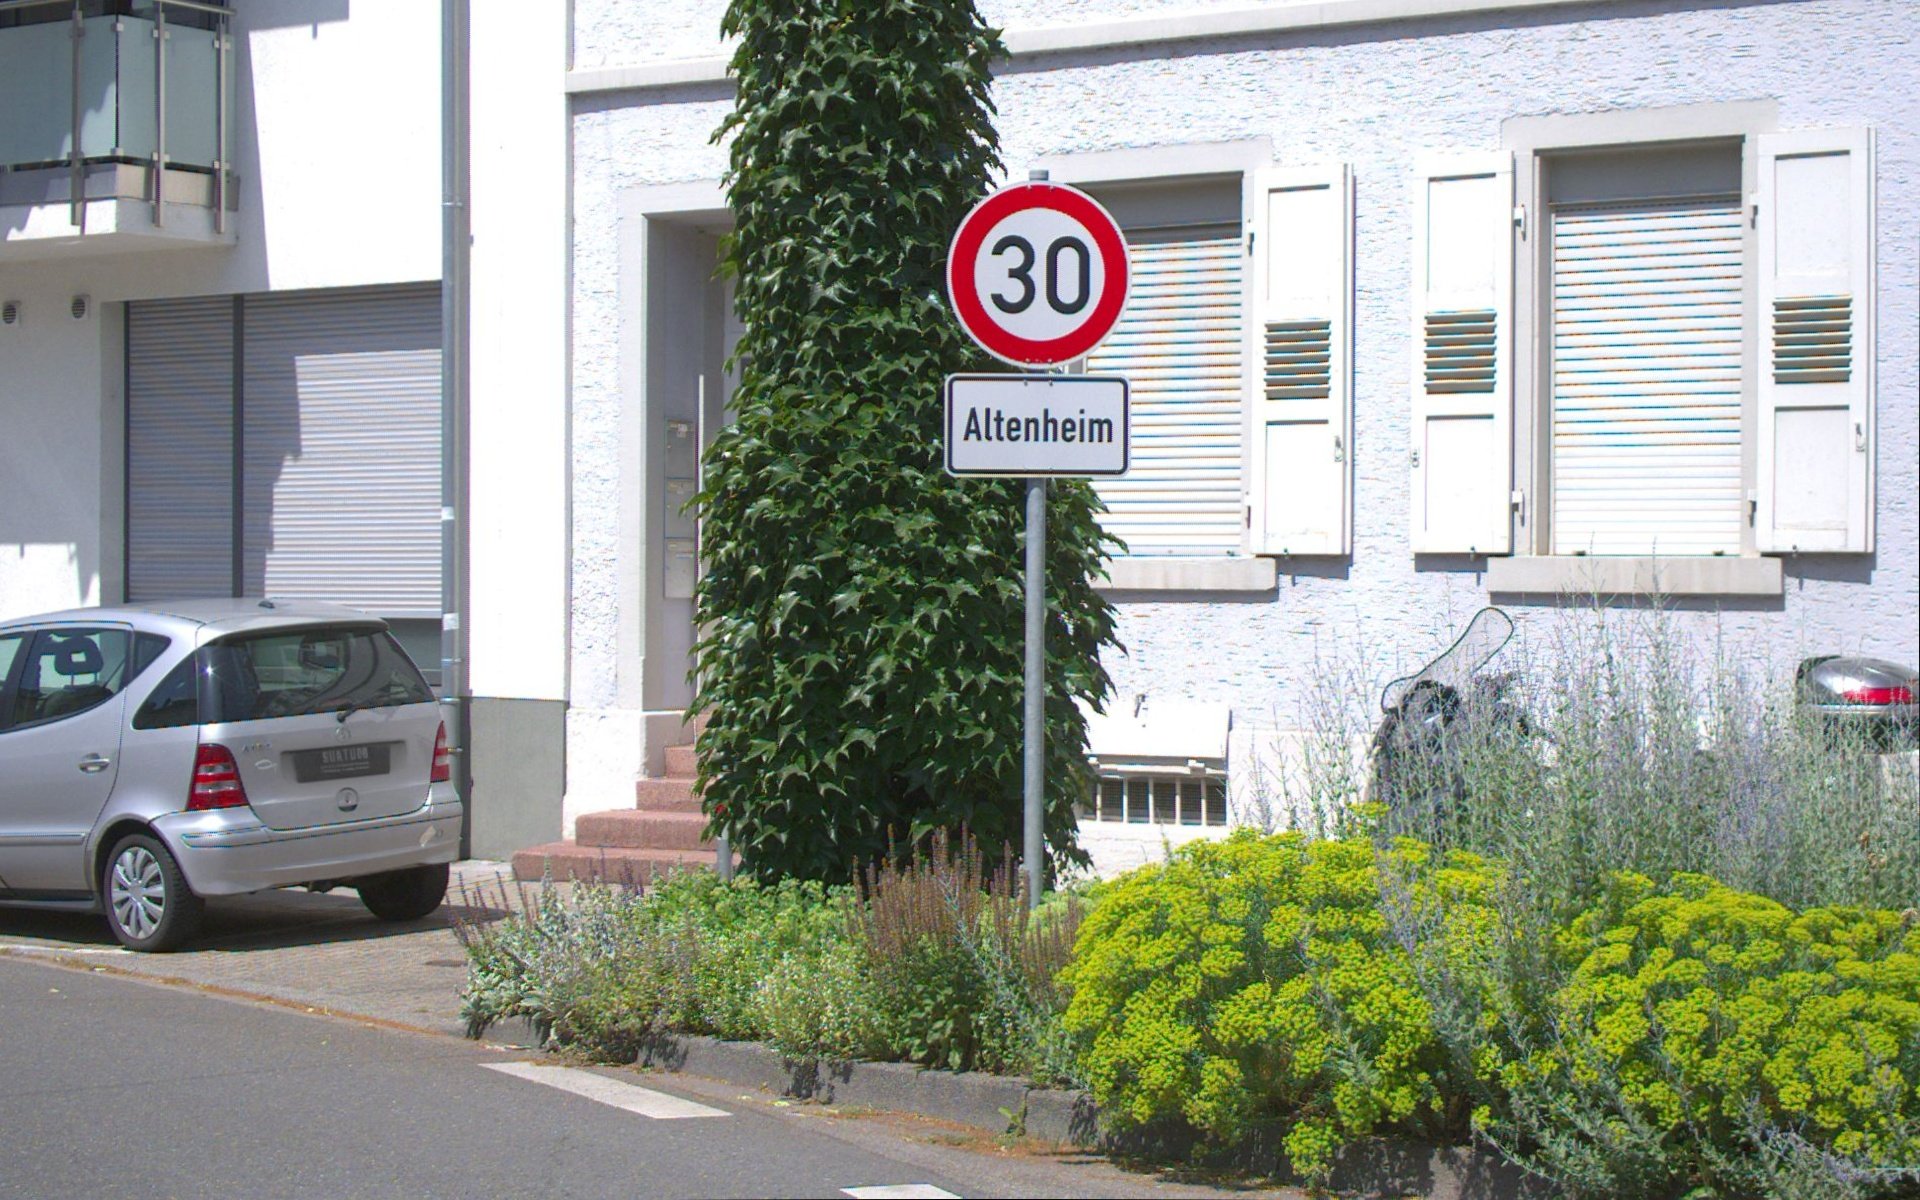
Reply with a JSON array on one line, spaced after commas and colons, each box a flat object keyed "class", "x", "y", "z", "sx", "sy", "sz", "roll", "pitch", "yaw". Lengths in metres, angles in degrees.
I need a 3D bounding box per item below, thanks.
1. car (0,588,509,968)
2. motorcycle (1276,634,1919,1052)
[{"class": "car", "x": -4.185, "y": 0.795, "z": 16.979, "sx": 3.796, "sy": 1.605, "sz": 1.728, "roll": -1, "pitch": 2, "yaw": 40}, {"class": "motorcycle", "x": 2.346, "y": 0.813, "z": 12.380, "sx": 2.335, "sy": 1.347, "sz": 0.801, "roll": 0, "pitch": 0, "yaw": 38}]
